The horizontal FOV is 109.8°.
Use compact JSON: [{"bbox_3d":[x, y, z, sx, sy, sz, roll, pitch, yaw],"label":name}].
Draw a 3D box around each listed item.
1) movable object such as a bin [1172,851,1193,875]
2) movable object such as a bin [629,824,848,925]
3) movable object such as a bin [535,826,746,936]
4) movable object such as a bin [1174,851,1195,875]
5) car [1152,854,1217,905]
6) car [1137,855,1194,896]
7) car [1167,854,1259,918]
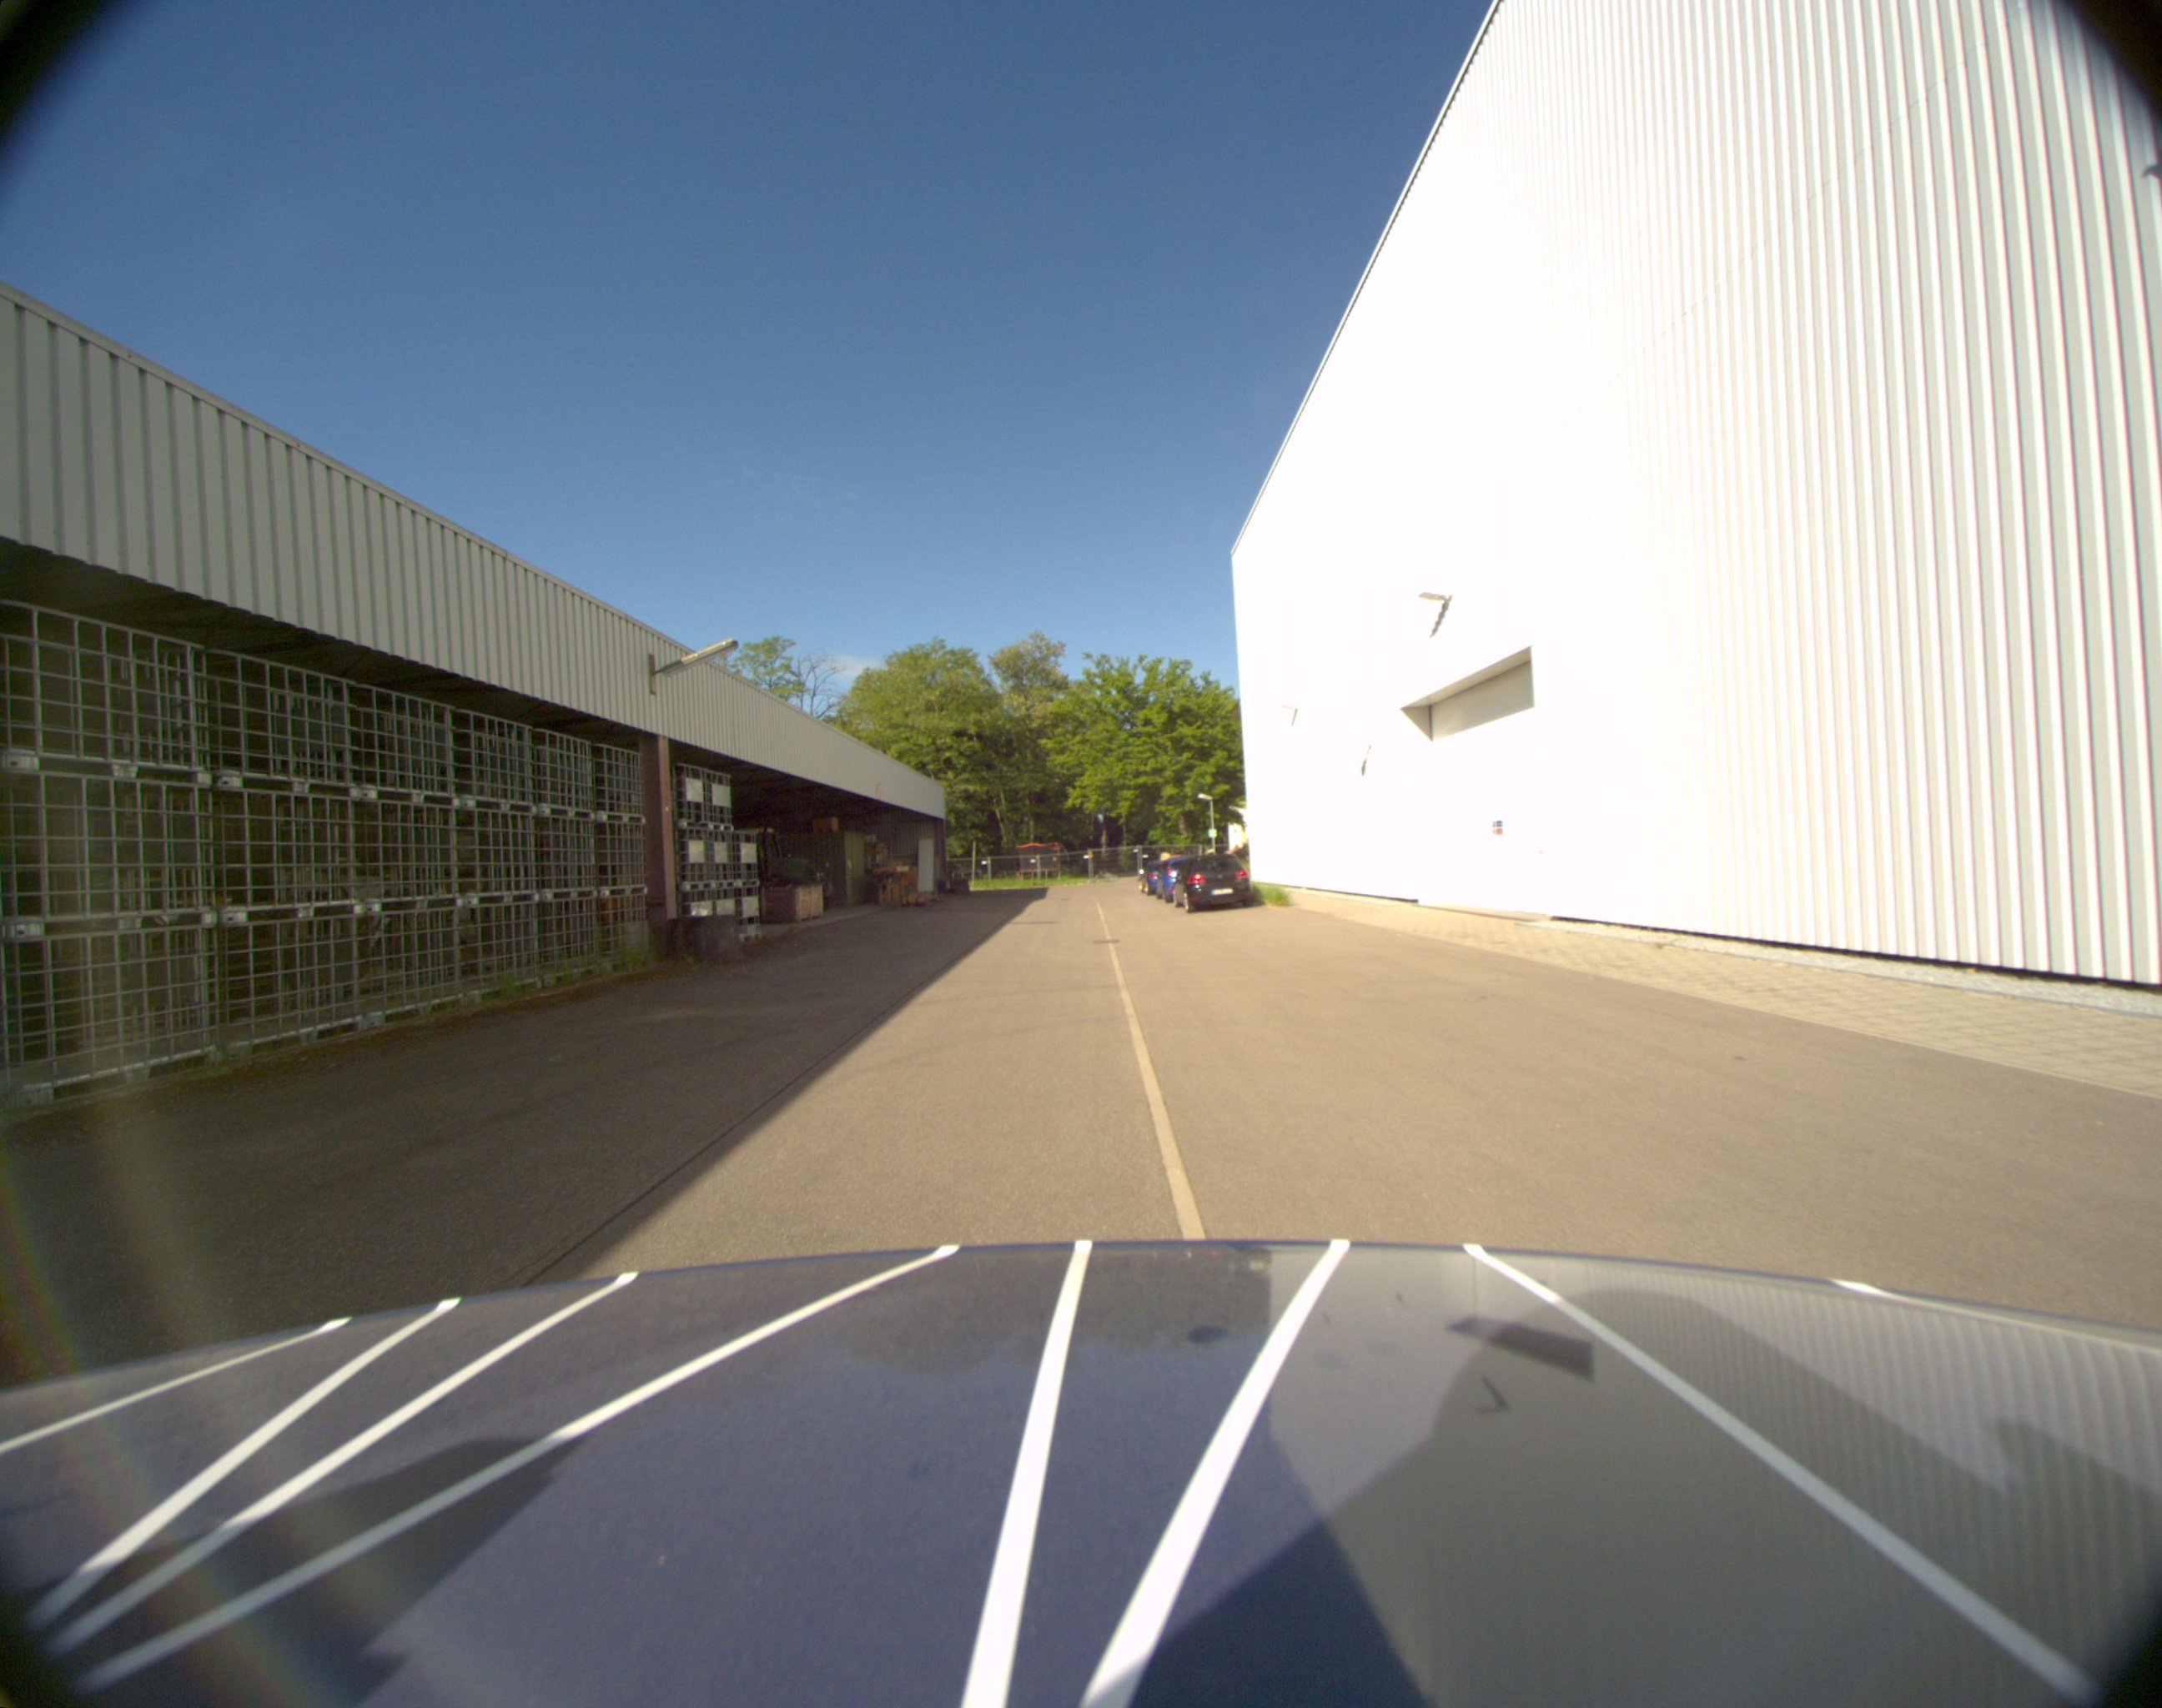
[{"bbox_3d":[6.447,0.565,48.453,1.141,1.469,1.280,-2,-1,1],"label":"movable object such as a bin"},{"bbox_3d":[-11.179,0.649,25.206,5.848,2.908,2.820,-2,0,1],"label":"movable object such as a bin"},{"bbox_3d":[-12.552,0.739,21.942,4.537,2.814,2.497,-2,0,1],"label":"movable object such as a bin"},{"bbox_3d":[6.420,0.558,47.089,1.141,1.426,1.289,-2,0,1],"label":"movable object such as a bin"},{"bbox_3d":[3.432,0.823,25.848,1.552,1.479,3.522,-5,-1,-1],"label":"car"},{"bbox_3d":[3.420,0.871,31.359,1.716,1.440,3.798,-5,-1,-1],"label":"car"},{"bbox_3d":[3.535,0.814,21.103,1.760,1.437,4.315,-6,-1,1],"label":"car"}]
